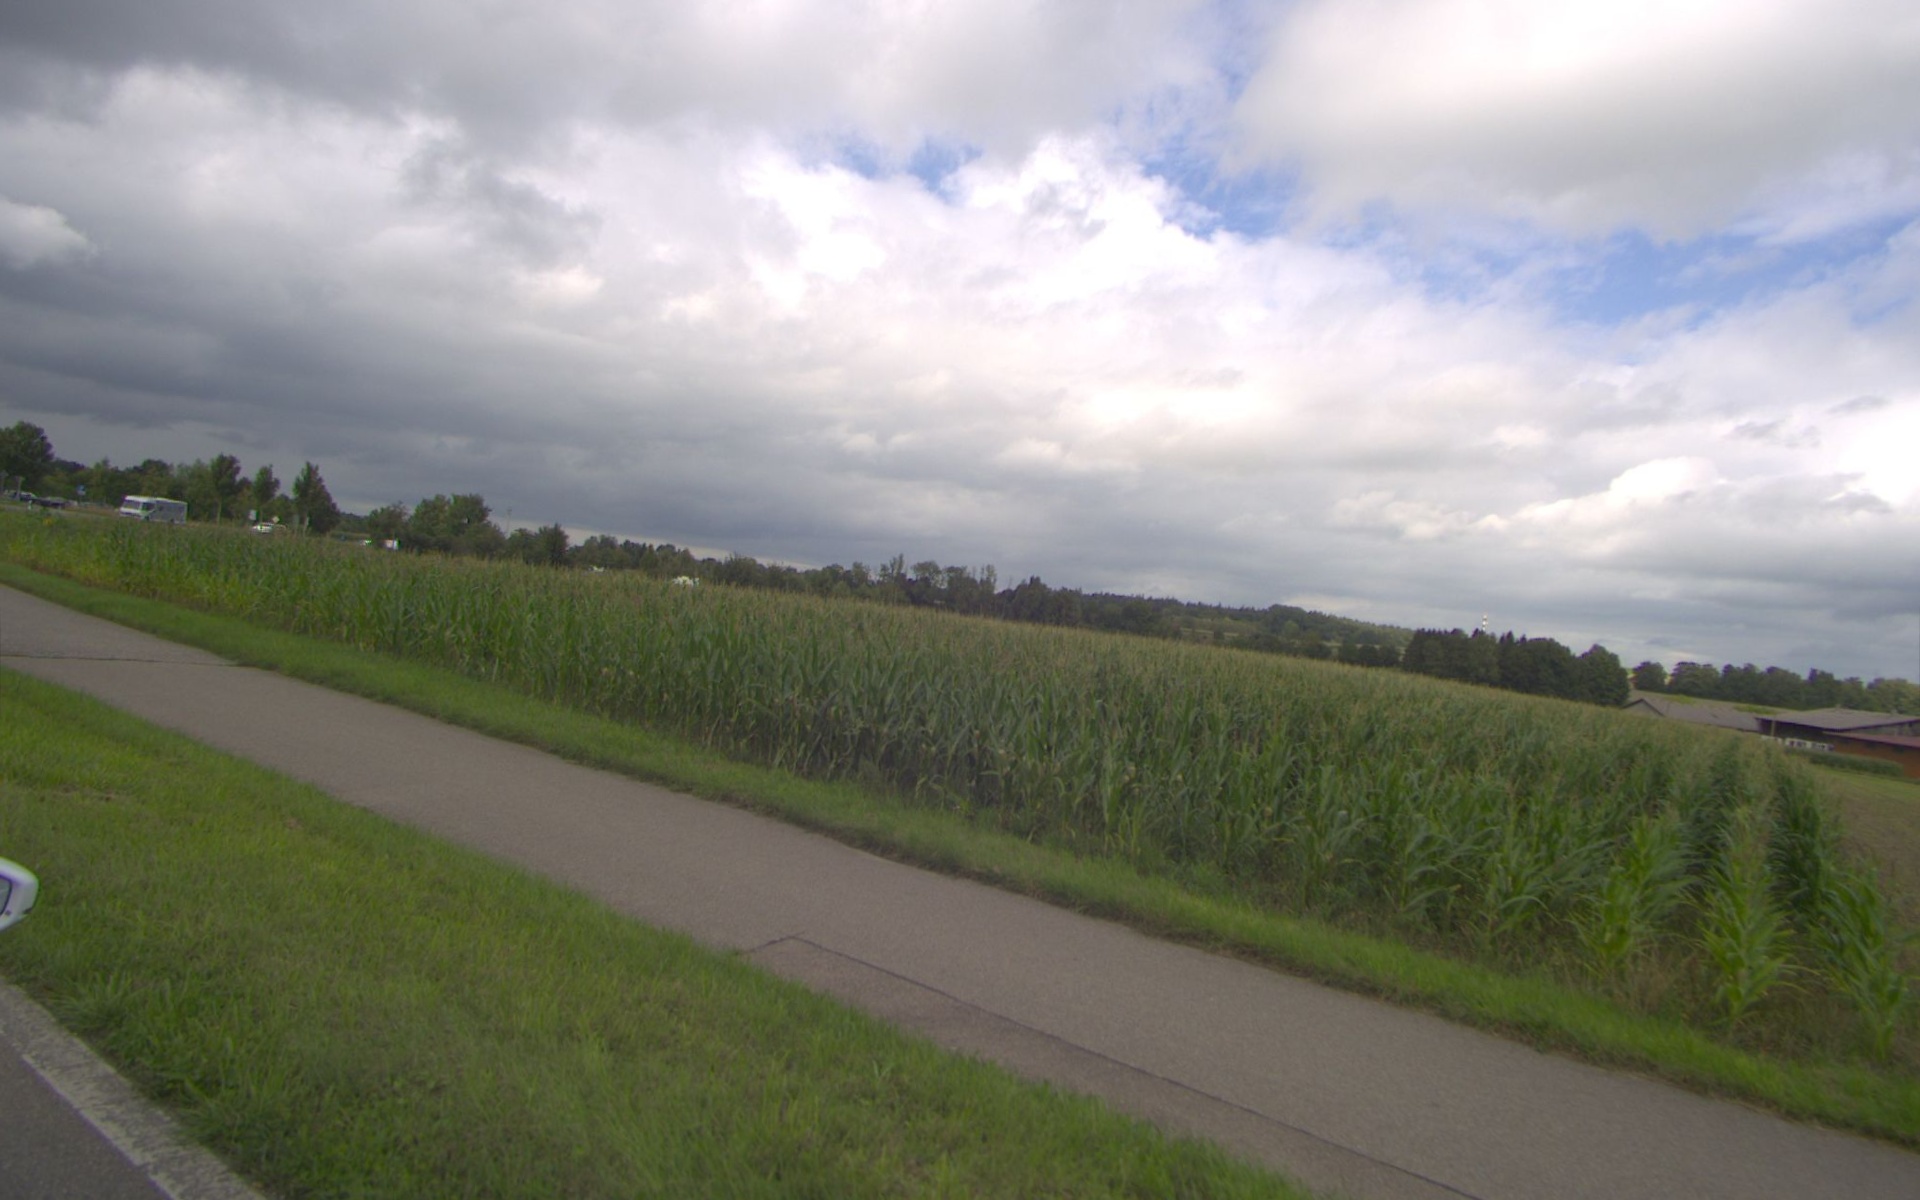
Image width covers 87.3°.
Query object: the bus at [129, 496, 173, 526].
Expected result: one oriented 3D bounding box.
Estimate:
[{"bbox_3d":[-86.906,-9.495,108.158,2.459,2.743,8.358,8,-1,-32],"label":"bus"}]
